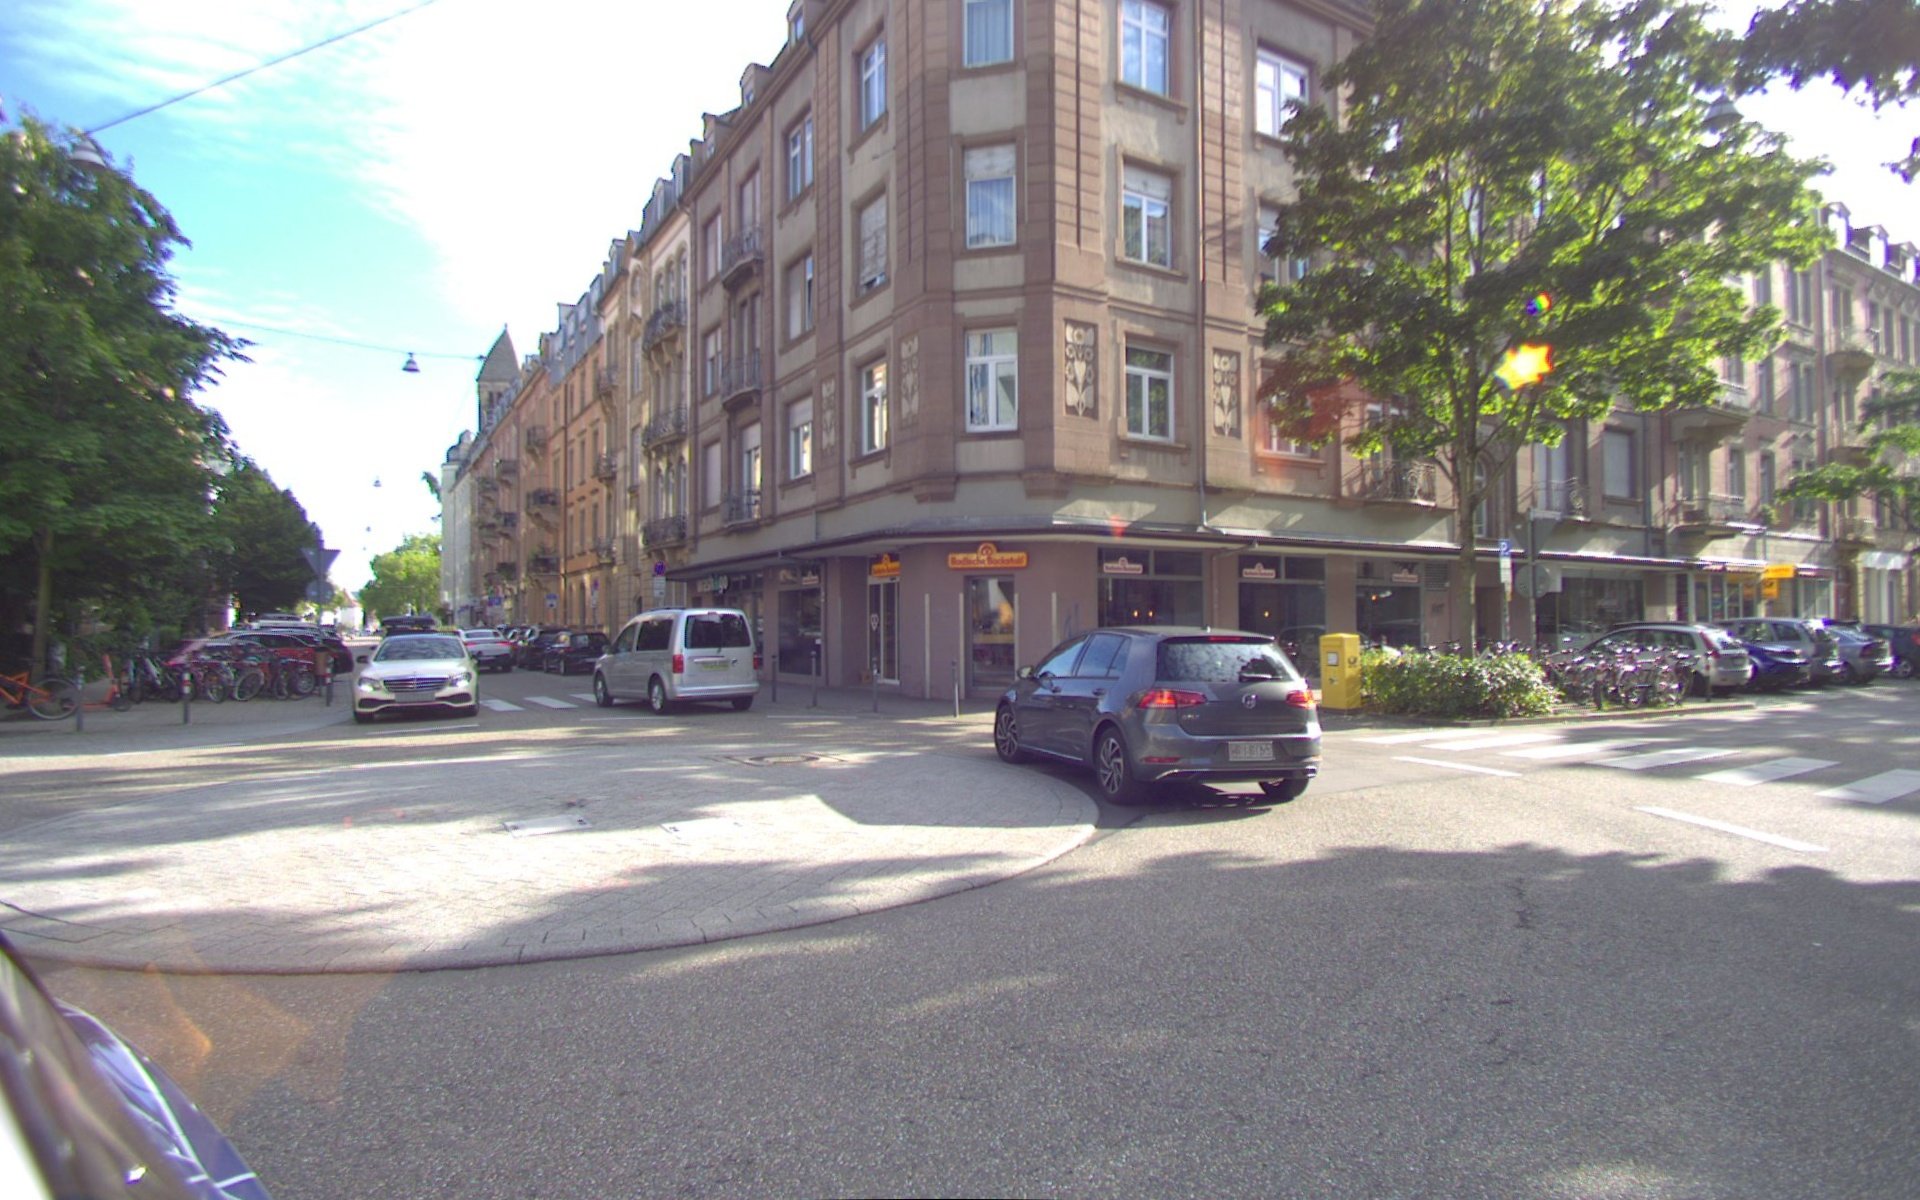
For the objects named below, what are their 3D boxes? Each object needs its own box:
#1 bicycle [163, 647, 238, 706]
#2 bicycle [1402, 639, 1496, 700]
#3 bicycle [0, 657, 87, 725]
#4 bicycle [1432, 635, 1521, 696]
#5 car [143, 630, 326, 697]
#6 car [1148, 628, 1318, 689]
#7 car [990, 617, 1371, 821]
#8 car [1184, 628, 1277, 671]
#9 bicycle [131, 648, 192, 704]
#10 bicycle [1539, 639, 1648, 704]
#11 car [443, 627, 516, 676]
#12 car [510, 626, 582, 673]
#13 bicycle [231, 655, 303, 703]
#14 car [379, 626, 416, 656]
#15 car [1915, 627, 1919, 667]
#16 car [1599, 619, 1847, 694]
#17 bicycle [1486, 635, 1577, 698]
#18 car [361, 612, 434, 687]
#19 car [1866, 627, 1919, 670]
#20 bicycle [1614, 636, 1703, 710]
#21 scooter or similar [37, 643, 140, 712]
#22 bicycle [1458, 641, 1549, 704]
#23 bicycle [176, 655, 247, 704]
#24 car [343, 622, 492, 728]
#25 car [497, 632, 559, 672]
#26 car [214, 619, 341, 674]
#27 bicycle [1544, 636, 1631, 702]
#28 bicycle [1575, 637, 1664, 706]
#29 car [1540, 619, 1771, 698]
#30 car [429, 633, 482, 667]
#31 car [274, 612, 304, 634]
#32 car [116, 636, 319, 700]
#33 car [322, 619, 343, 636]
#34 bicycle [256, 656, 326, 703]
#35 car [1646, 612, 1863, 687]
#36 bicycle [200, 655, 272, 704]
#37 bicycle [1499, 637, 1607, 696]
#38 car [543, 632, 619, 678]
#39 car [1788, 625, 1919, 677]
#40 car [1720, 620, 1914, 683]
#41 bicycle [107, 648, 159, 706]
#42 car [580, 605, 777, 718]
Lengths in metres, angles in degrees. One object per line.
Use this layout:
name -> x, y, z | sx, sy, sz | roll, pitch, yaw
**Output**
bicycle -> -15.914, 1.587, 21.202 | 1.830, 1.152, 0.471 | 0, -3, 28
bicycle -> 10.020, 1.394, 20.704 | 2.391, 1.143, 0.581 | 1, -2, -34
bicycle -> -15.218, 1.443, 16.158 | 1.825, 1.043, 0.686 | 1, -2, -32
bicycle -> 10.341, 1.283, 20.230 | 2.391, 1.143, 0.480 | 1, -2, -34
car -> -18.881, 1.648, 26.481 | 1.510, 1.628, 3.544 | -1, -4, 35
car -> 7.094, 1.500, 26.585 | 1.739, 1.441, 4.006 | -1, -2, -41
car -> 1.725, 0.910, 9.382 | 1.767, 1.449, 4.011 | 2, -2, -15
car -> 11.183, 2.024, 41.807 | 3.571, 1.578, 1.583 | -1, -1, -29
bicycle -> -16.595, 1.561, 21.028 | 1.671, 1.109, 0.470 | -1, -3, 34
bicycle -> 12.125, 1.340, 19.345 | 2.470, 1.110, 0.652 | -1, -2, -30
car -> -17.671, 1.873, 37.098 | 1.966, 1.647, 4.858 | 0, -2, -31
car -> -15.622, 1.825, 38.096 | 1.831, 1.596, 4.411 | -1, -1, -31
bicycle -> -15.530, 1.756, 22.669 | 1.856, 0.993, 0.467 | 0, -3, 28
car -> -38.875, 2.829, 69.897 | 1.912, 1.894, 4.849 | -1, -2, -33
car -> 32.096, 1.468, 31.390 | 1.353, 1.263, 3.349 | 2, -3, -30
car -> 16.869, 1.215, 22.589 | 1.550, 1.488, 4.086 | -1, -1, -31
bicycle -> 10.969, 1.240, 19.384 | 2.391, 1.143, 0.480 | 1, -2, -34
car -> -16.580, 1.424, 29.903 | 1.763, 2.079, 4.012 | 1, -2, -29
car -> 28.887, 1.425, 29.562 | 1.353, 1.263, 3.349 | 2, -3, -30
bicycle -> 12.347, 1.254, 17.860 | 2.255, 1.234, 0.480 | 1, -2, -34
scooter or similar -> -15.593, 1.384, 18.134 | 1.274, 1.220, 0.556 | 0, -4, -3
bicycle -> 10.643, 1.383, 19.778 | 2.391, 1.143, 0.480 | 1, -2, -34
bicycle -> -16.019, 1.685, 21.646 | 1.830, 0.993, 0.414 | 0, -3, 28
car -> -9.805, 1.284, 18.634 | 1.911, 1.609, 4.852 | -1, -1, -22
car -> -18.173, 2.162, 42.522 | 1.733, 1.508, 4.144 | -1, -2, -32
car -> -32.573, 2.165, 48.443 | 1.989, 2.441, 4.697 | -2, -1, 26
bicycle -> 11.551, 1.248, 18.598 | 2.226, 1.143, 0.480 | 1, -2, -34
bicycle -> 11.856, 1.250, 18.172 | 2.253, 1.166, 0.480 | 1, -2, -34
car -> 14.744, 1.205, 21.659 | 1.550, 1.488, 3.710 | -1, -1, -31
car -> -23.169, 2.237, 46.388 | 1.741, 1.392, 4.464 | -2, 0, -32
car -> -57.088, 1.959, 86.085 | 1.821, 1.747, 4.009 | -1, -2, -37
car -> -17.589, 1.604, 24.121 | 1.509, 1.391, 3.547 | -1, -4, 33
car -> -73.206, 3.172, 118.092 | 1.966, 1.903, 4.012 | -1, -1, -29
bicycle -> -15.217, 1.785, 23.008 | 1.856, 0.993, 0.467 | 0, -3, 28
car -> 18.856, 1.150, 24.174 | 1.550, 1.608, 3.710 | -1, -1, -31
bicycle -> -15.802, 1.723, 22.081 | 1.856, 0.993, 0.467 | 0, -3, 28
bicycle -> 11.678, 1.283, 19.886 | 2.470, 1.110, 0.710 | 1, -4, -31
car -> -12.762, 1.806, 33.973 | 1.695, 1.379, 3.840 | -1, -1, -31
car -> 24.717, 1.364, 27.345 | 1.353, 1.342, 3.349 | 2, -3, -30
car -> 20.953, 1.254, 24.881 | 1.353, 1.454, 3.349 | 2, -3, -30
bicycle -> -16.853, 1.560, 20.608 | 1.673, 1.109, 0.428 | -1, -4, 39
car -> -5.262, 1.078, 18.546 | 1.806, 1.804, 4.337 | 2, -3, -41
